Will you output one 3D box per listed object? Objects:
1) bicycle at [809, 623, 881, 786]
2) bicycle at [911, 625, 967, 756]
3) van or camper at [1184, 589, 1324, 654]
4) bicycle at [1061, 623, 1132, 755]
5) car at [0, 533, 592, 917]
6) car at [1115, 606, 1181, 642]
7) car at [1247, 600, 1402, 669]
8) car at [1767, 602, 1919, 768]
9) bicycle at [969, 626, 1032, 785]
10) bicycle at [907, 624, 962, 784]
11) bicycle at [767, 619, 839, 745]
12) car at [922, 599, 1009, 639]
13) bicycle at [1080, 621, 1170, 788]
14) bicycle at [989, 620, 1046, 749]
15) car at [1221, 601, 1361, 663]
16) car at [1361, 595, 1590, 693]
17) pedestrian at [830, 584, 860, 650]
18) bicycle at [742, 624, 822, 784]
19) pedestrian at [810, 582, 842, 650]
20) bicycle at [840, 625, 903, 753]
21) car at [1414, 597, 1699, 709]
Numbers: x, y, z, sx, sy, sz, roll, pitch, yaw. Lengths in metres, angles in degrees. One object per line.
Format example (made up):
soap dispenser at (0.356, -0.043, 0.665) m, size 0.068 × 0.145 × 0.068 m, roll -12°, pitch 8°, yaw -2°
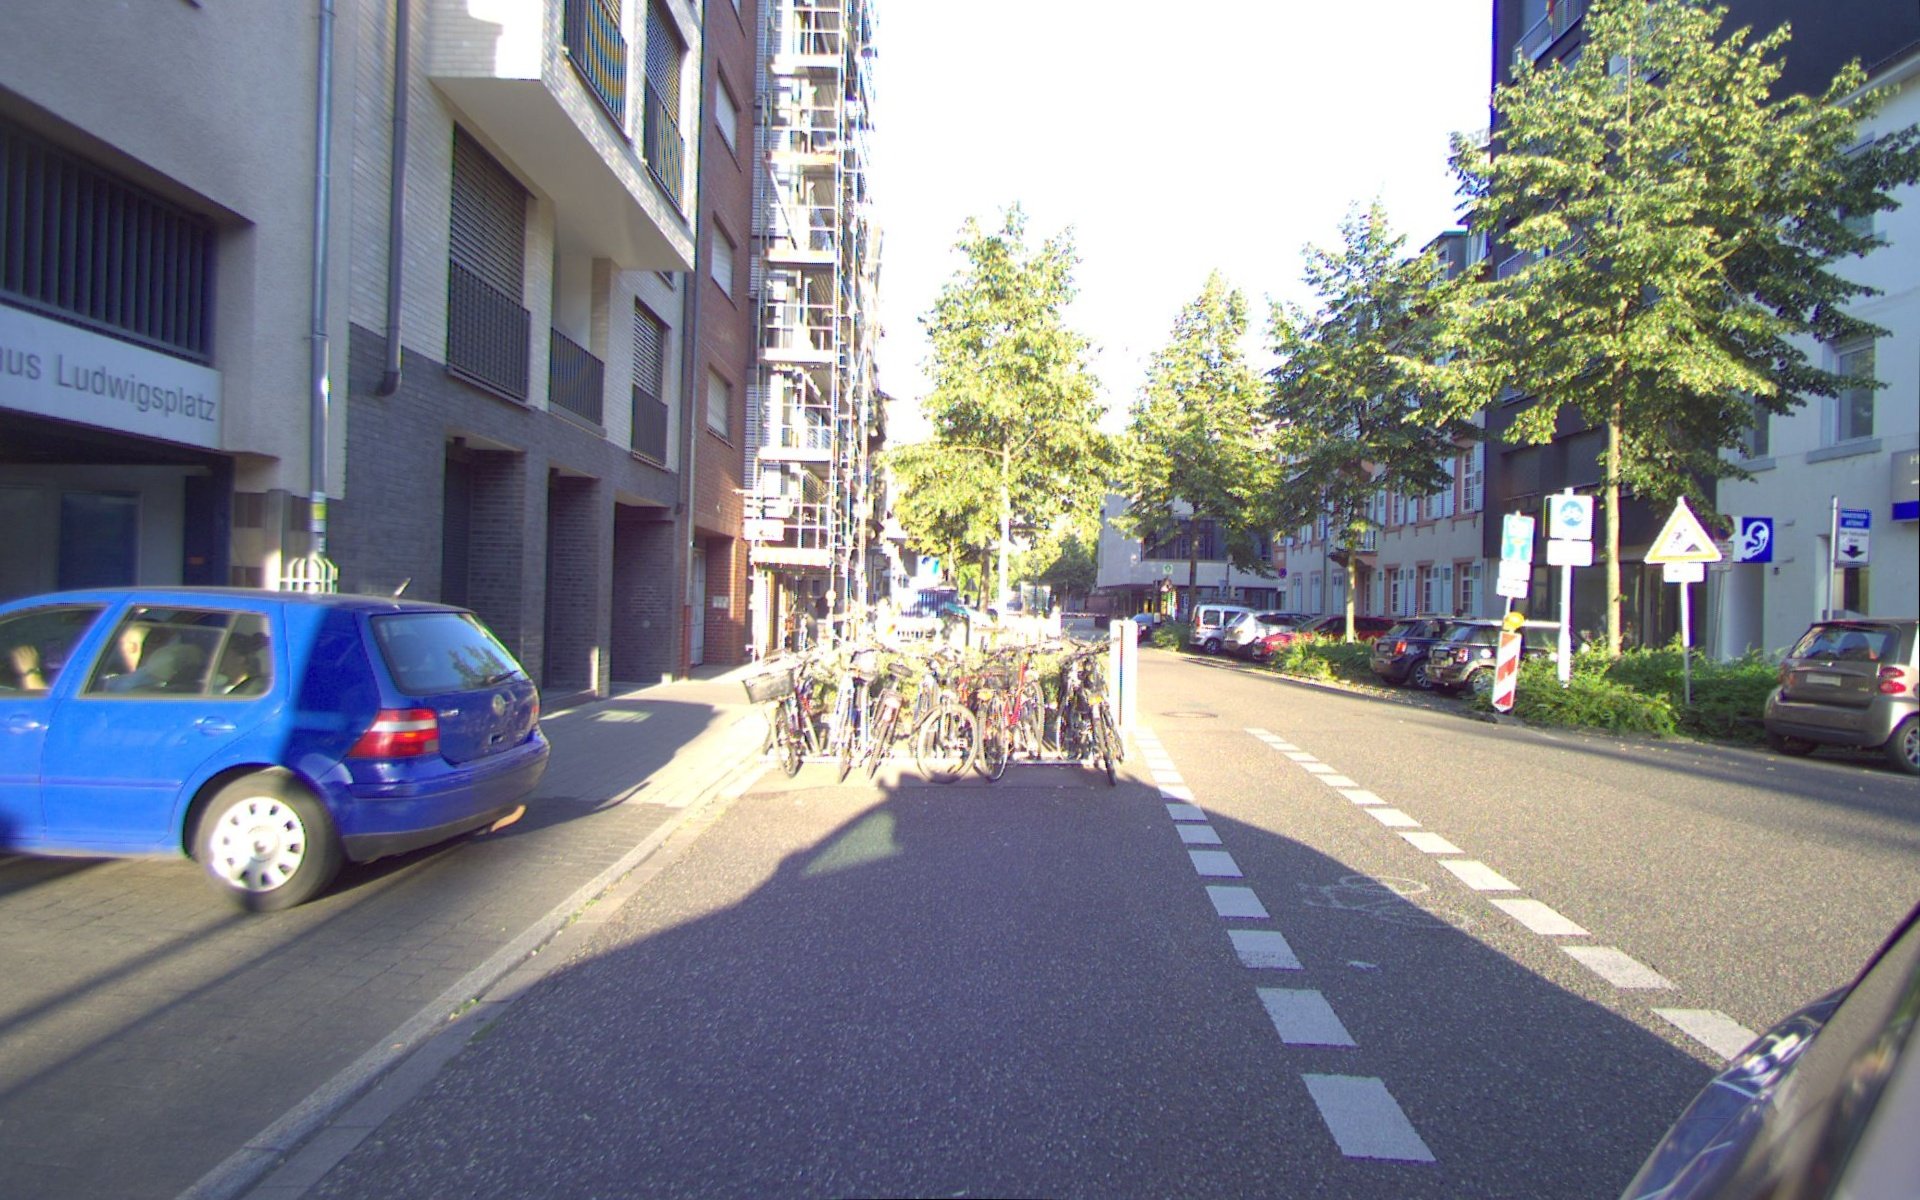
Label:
bicycle at (-0.943, 0.818, 8.527) m, size 0.380 × 1.204 × 1.552 m, roll 2°, pitch 0°, yaw 1°
bicycle at (-0.192, 0.862, 10.203) m, size 0.479 × 1.164 × 1.552 m, roll 2°, pitch 0°, yaw 1°
van or camper at (10.552, 0.756, 36.526) m, size 4.369 × 2.031 × 1.858 m, roll 3°, pitch 0°, yaw -1°
bicycle at (1.369, 0.856, 10.317) m, size 0.499 × 1.193 × 1.552 m, roll 2°, pitch 0°, yaw 1°
car at (-4.315, 0.491, 5.363) m, size 4.042 × 1.583 × 1.693 m, roll 3°, pitch 0°, yaw 1°
car at (9.161, 1.165, 49.107) m, size 1.846 × 1.588 × 3.651 m, roll 3°, pitch 0°, yaw 34°
car at (10.295, 0.953, 28.791) m, size 3.626 × 1.691 × 1.859 m, roll 3°, pitch 0°, yaw -1°
car at (10.761, 0.871, 10.591) m, size 3.414 × 1.595 × 1.508 m, roll 2°, pitch 0°, yaw -1°
bicycle at (0.366, 0.828, 8.550) m, size 0.411 × 1.171 × 1.549 m, roll 2°, pitch 0°, yaw 6°
bicycle at (-0.191, 0.814, 8.497) m, size 0.375 × 1.174 × 1.552 m, roll 2°, pitch 0°, yaw 1°
bicycle at (-1.568, 0.781, 10.294) m, size 0.450 × 1.146 × 1.552 m, roll 2°, pitch 0°, yaw 1°
car at (0.295, 0.869, 47.228) m, size 3.927 × 1.705 × 1.889 m, roll 2°, pitch 0°, yaw 3°
bicycle at (1.357, 0.820, 8.544) m, size 0.489 × 1.236 × 1.552 m, roll 2°, pitch 0°, yaw 1°
bicycle at (0.565, 0.808, 10.324) m, size 0.479 × 1.178 × 1.552 m, roll 2°, pitch 0°, yaw 1°
car at (10.198, 0.963, 31.371) m, size 3.626 × 1.691 × 1.859 m, roll 3°, pitch 0°, yaw -1°
car at (10.386, 0.857, 20.582) m, size 3.626 × 1.691 × 1.859 m, roll 3°, pitch 0°, yaw -1°
pedestrian at (-3.212, 0.473, 28.335) m, size 0.729 × 1.806 × 0.656 m, roll 1°, pitch -1°, yaw -1°
bicycle at (-1.476, 0.826, 8.562) m, size 0.381 × 1.198 × 1.405 m, roll 2°, pitch 0°, yaw 1°
pedestrian at (-3.652, 0.431, 27.610) m, size 0.730 × 1.806 × 0.656 m, roll 1°, pitch -1°, yaw 1°
bicycle at (-0.879, 0.857, 10.331) m, size 0.460 × 1.158 × 1.552 m, roll 2°, pitch 0°, yaw 1°
car at (10.556, 0.909, 18.120) m, size 3.932 × 1.691 × 1.859 m, roll 3°, pitch 0°, yaw -1°
